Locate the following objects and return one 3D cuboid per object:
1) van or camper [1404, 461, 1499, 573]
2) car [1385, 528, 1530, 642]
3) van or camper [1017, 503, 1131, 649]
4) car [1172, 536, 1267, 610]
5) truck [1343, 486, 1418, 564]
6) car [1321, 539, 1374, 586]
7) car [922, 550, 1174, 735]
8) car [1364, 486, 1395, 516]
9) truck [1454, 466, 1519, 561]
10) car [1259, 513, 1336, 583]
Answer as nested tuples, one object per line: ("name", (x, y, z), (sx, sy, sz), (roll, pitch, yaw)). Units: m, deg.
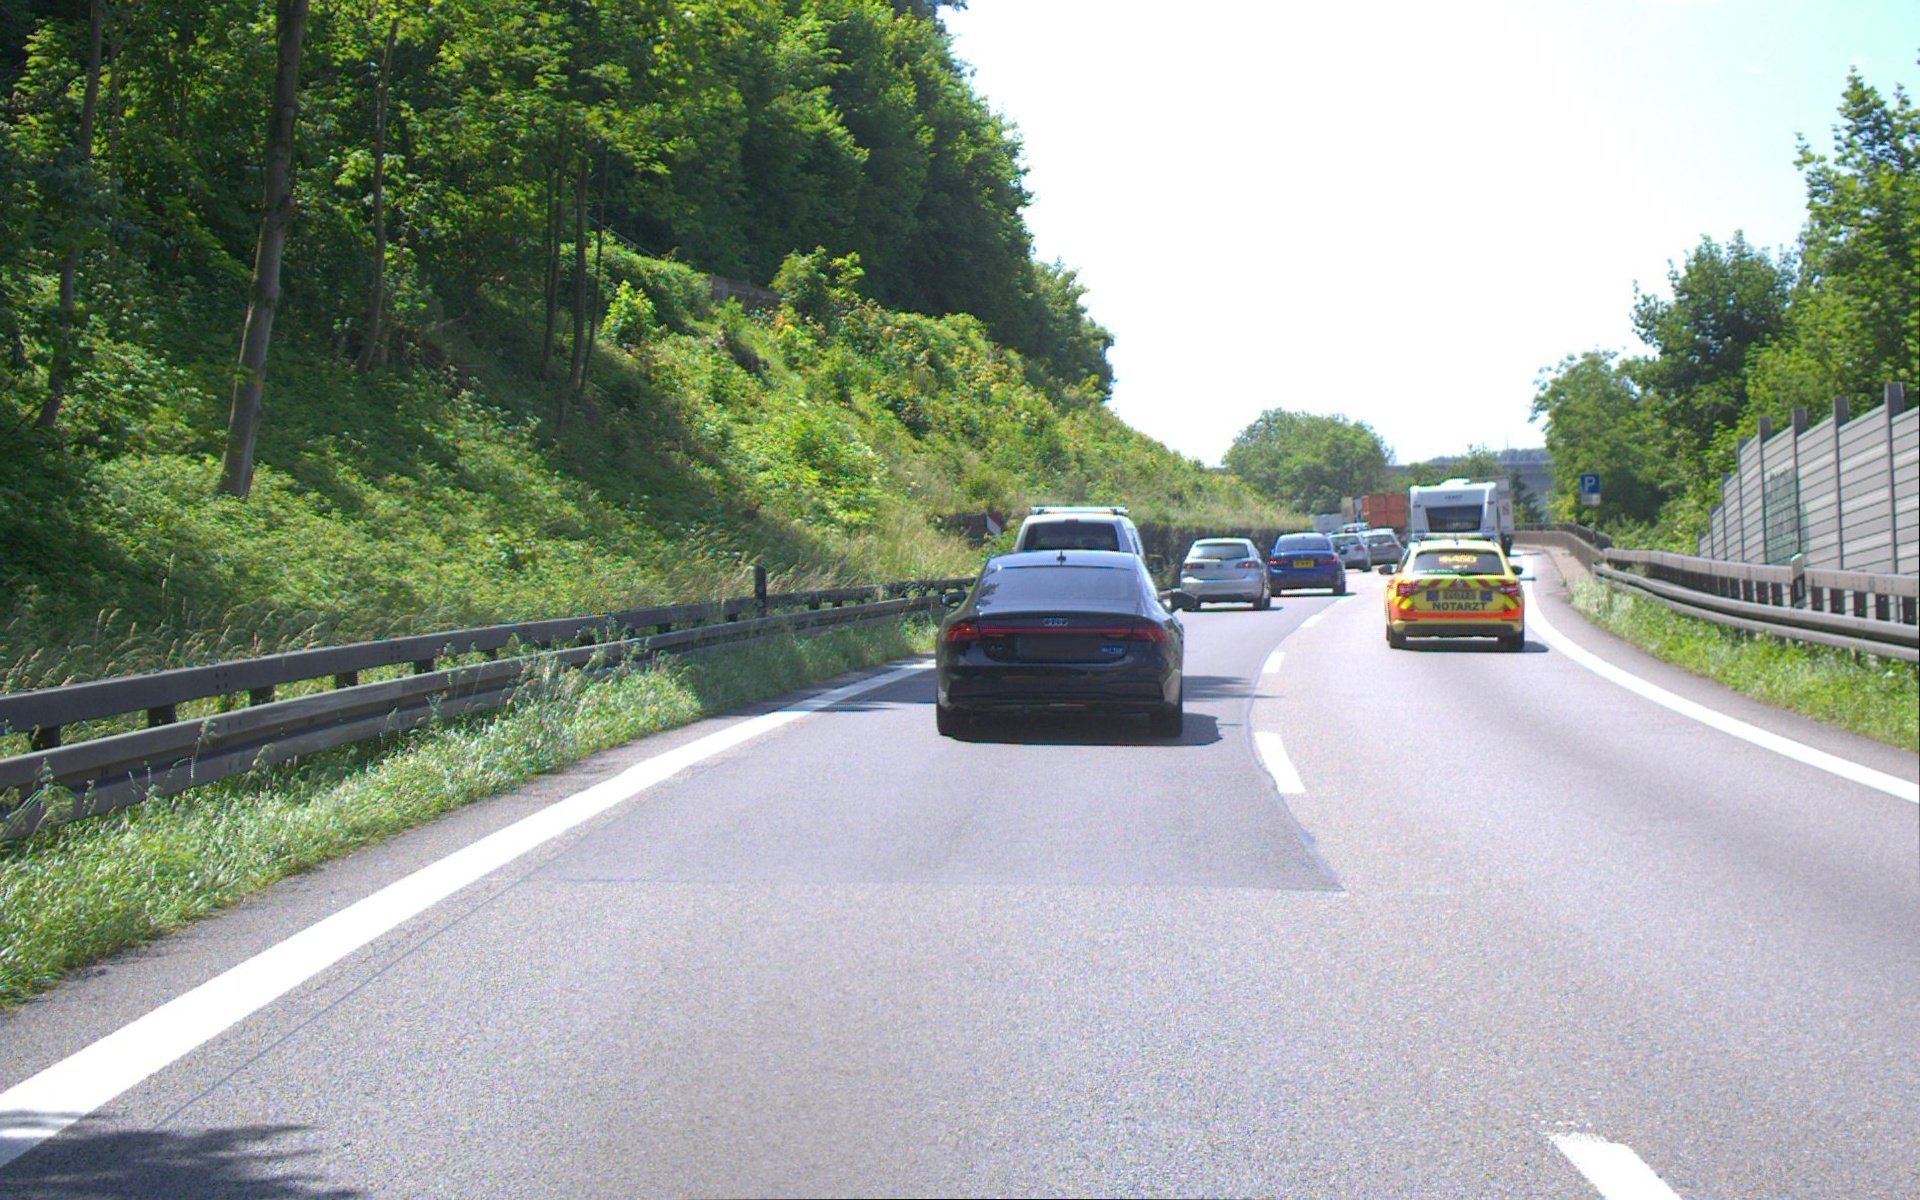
("van or camper", (13.308, -2.211, 93.439), (2.456, 2.908, 6.124), (0, 0, 7))
("car", (6.761, -0.203, 46.963), (1.863, 1.483, 3.999), (0, 0, 7))
("van or camper", (1.513, -0.305, 44.647), (1.392, 1.809, 4.000), (0, 0, 3))
("car", (5.210, -0.534, 68.712), (1.747, 1.426, 3.999), (0, 0, 6))
("truck", (17.398, -3.077, 141.863), (2.842, 3.120, 7.477), (0, 1, 9))
("car", (14.571, -1.405, 129.166), (1.842, 1.711, 3.998), (0, 0, 9))
("car", (0.708, 0.303, 27.200), (1.838, 1.345, 4.000), (0, 0, 2))
("car", (28.956, -6.820, 237.373), (1.994, 2.007, 4.000), (0, 1, 5))
("truck", (23.178, -3.796, 151.344), (2.734, 4.082, 7.477), (0, 1, 9))
("car", (8.066, -1.229, 82.479), (1.773, 1.631, 3.999), (0, 0, 5))
